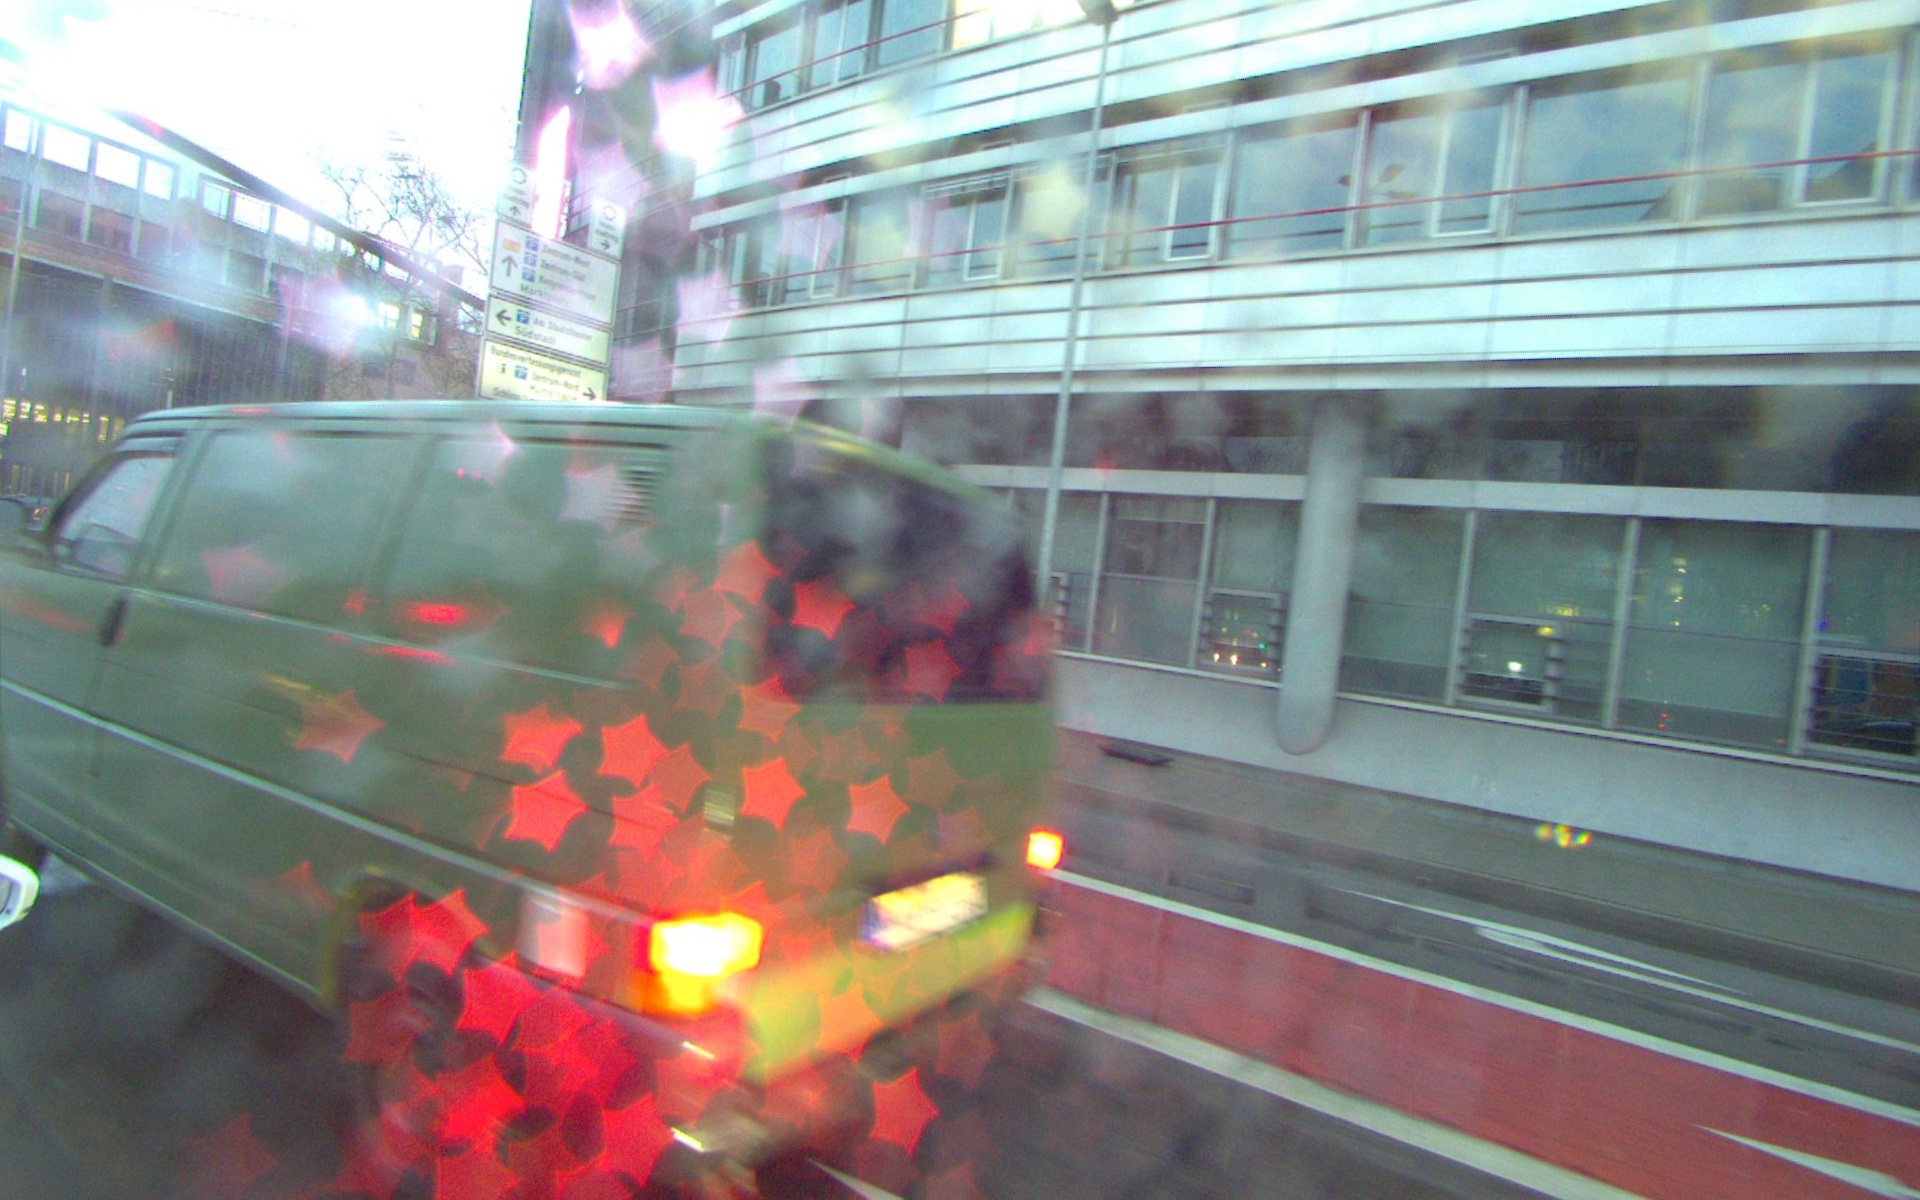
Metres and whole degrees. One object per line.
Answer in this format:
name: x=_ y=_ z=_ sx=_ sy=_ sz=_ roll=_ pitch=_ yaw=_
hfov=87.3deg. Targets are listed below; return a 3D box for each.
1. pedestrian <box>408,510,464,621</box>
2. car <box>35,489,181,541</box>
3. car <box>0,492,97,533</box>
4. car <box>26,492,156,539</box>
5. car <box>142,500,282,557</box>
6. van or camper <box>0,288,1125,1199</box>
pedestrian: x=-10.891 y=-0.717 z=20.900 sx=0.609 sy=2.211 sz=0.576 roll=6 pitch=0 yaw=26
car: x=-34.094 y=-3.359 z=40.365 sx=1.814 sy=1.278 sz=3.997 roll=11 pitch=1 yaw=26
car: x=-40.869 y=-3.917 z=44.178 sx=1.965 sy=1.326 sz=3.994 roll=7 pitch=0 yaw=28
car: x=-37.141 y=-3.590 z=43.077 sx=1.814 sy=1.278 sz=3.729 roll=11 pitch=2 yaw=26
car: x=-29.959 y=-2.824 z=40.432 sx=1.814 sy=1.523 sz=3.997 roll=11 pitch=2 yaw=26
van or camper: x=-1.869 y=0.275 z=3.640 sx=4.345 sy=1.929 sz=1.760 roll=7 pitch=-1 yaw=32
